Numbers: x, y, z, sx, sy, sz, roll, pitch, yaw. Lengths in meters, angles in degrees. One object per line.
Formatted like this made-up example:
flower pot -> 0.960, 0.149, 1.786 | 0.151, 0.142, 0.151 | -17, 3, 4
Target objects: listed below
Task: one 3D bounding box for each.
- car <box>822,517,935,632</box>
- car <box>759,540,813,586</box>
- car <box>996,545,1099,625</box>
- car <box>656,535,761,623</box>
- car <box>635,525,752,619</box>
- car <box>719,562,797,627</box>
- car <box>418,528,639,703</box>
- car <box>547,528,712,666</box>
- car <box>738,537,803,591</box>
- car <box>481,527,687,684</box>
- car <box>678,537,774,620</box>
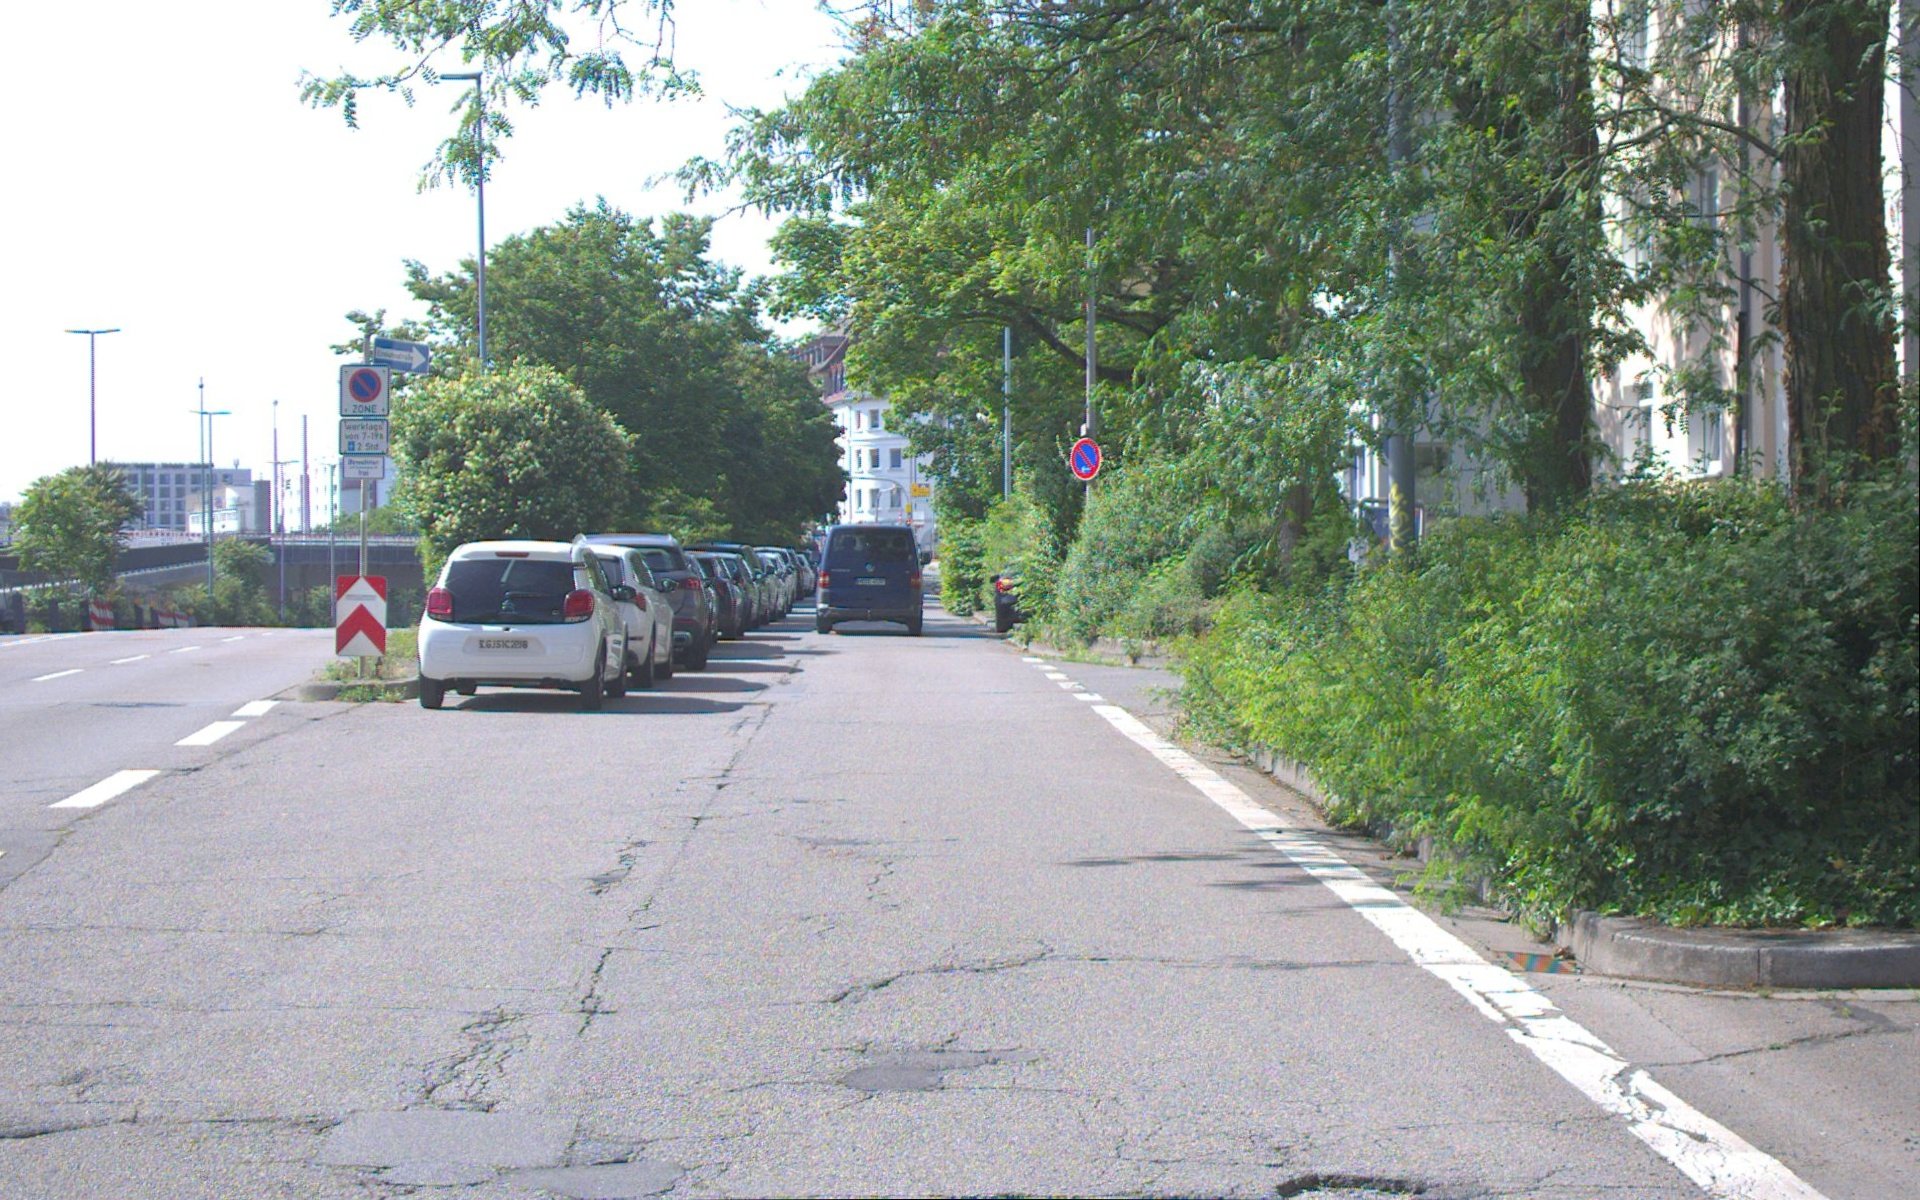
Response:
car -> -1.434, -0.466, 61.468 | 1.883, 1.915, 4.008 | 2, 1, -1
car -> -5.857, -1.263, 116.310 | 1.663, 1.504, 4.008 | 0, 1, -1
car -> 1.612, -0.282, 64.665 | 1.726, 1.415, 4.000 | -1, 0, -1
car -> -4.601, -0.404, 63.302 | 1.664, 1.506, 3.789 | 2, 1, -1
car -> -4.413, -0.479, 57.363 | 1.664, 1.468, 3.789 | 2, 1, -1
car -> -4.880, -0.147, 83.422 | 1.664, 1.463, 4.201 | 2, 1, -1
car -> -3.911, 0.108, 31.629 | 1.619, 1.500, 3.462 | 1, 1, -1
car -> -3.959, -0.072, 41.675 | 1.771, 1.574, 4.187 | -1, 1, -3
car -> -5.508, -1.053, 100.302 | 1.664, 1.504, 4.008 | 2, 1, -1
car -> -3.898, 0.025, 36.192 | 1.721, 1.500, 4.132 | 2, 1, -1
car -> -4.606, -0.433, 68.009 | 1.663, 1.578, 3.932 | 0, 1, -1
